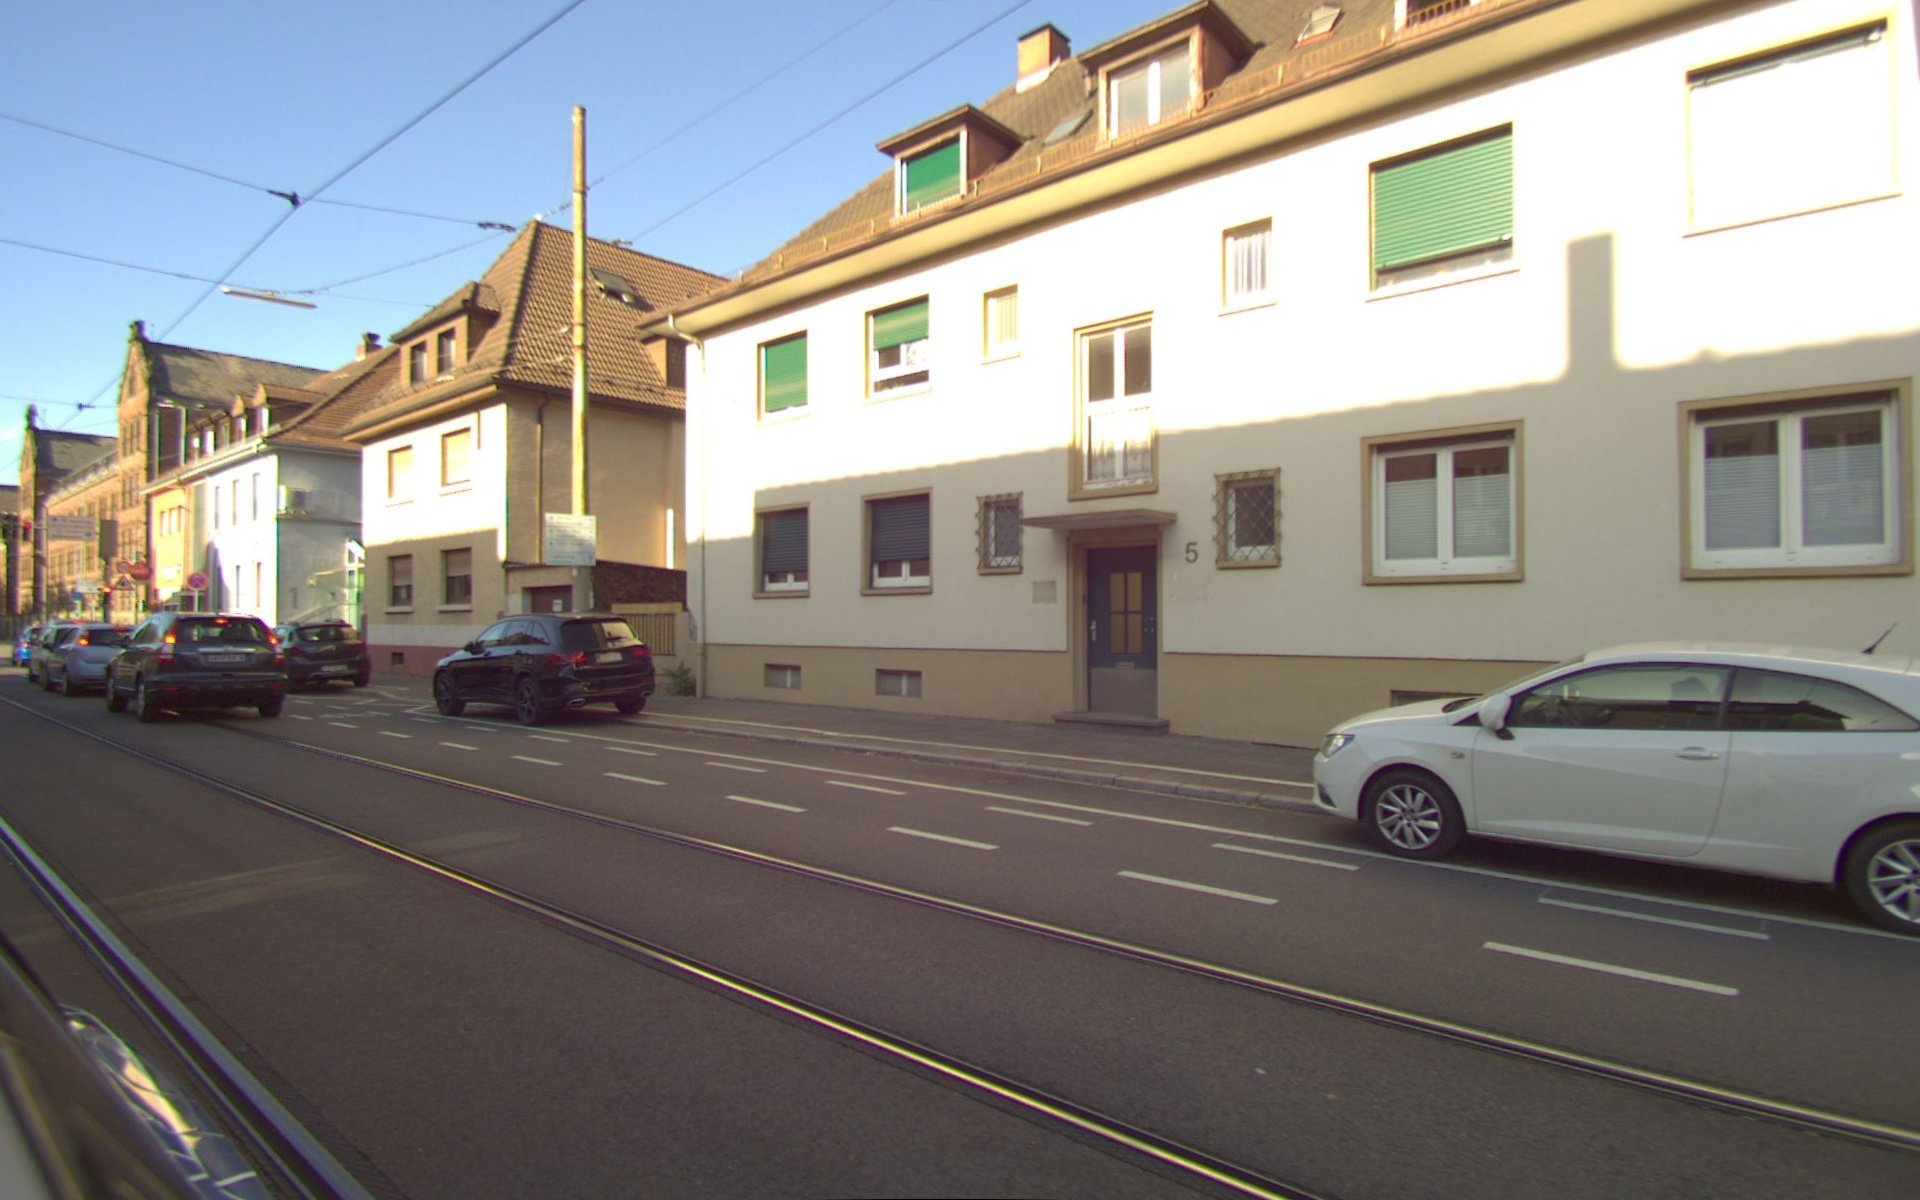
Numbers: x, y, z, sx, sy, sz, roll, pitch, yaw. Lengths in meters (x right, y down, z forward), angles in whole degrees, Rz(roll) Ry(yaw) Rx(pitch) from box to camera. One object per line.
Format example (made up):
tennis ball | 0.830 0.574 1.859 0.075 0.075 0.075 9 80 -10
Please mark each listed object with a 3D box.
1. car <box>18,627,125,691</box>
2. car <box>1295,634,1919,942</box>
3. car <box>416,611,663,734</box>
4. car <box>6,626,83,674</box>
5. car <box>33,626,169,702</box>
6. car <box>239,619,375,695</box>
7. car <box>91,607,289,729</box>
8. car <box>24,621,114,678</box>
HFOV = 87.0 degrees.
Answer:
car | -22.167 1.421 25.222 3.613 1.472 1.565 -1 -3 42
car | 4.336 0.967 6.263 4.014 1.468 1.614 -1 -3 41
car | -6.841 1.080 16.229 4.552 1.718 1.744 -1 -3 40
car | -31.885 1.727 35.204 3.930 1.579 1.665 -2 -4 44
car | -18.409 1.320 21.635 4.073 1.472 1.600 -1 -3 41
car | -15.533 1.309 24.005 3.918 1.640 1.599 -1 -3 40
car | -12.574 1.031 16.432 4.362 1.718 1.686 -1 -3 41
car | -27.196 1.475 30.839 1.718 1.623 4.717 3 -3 -45
